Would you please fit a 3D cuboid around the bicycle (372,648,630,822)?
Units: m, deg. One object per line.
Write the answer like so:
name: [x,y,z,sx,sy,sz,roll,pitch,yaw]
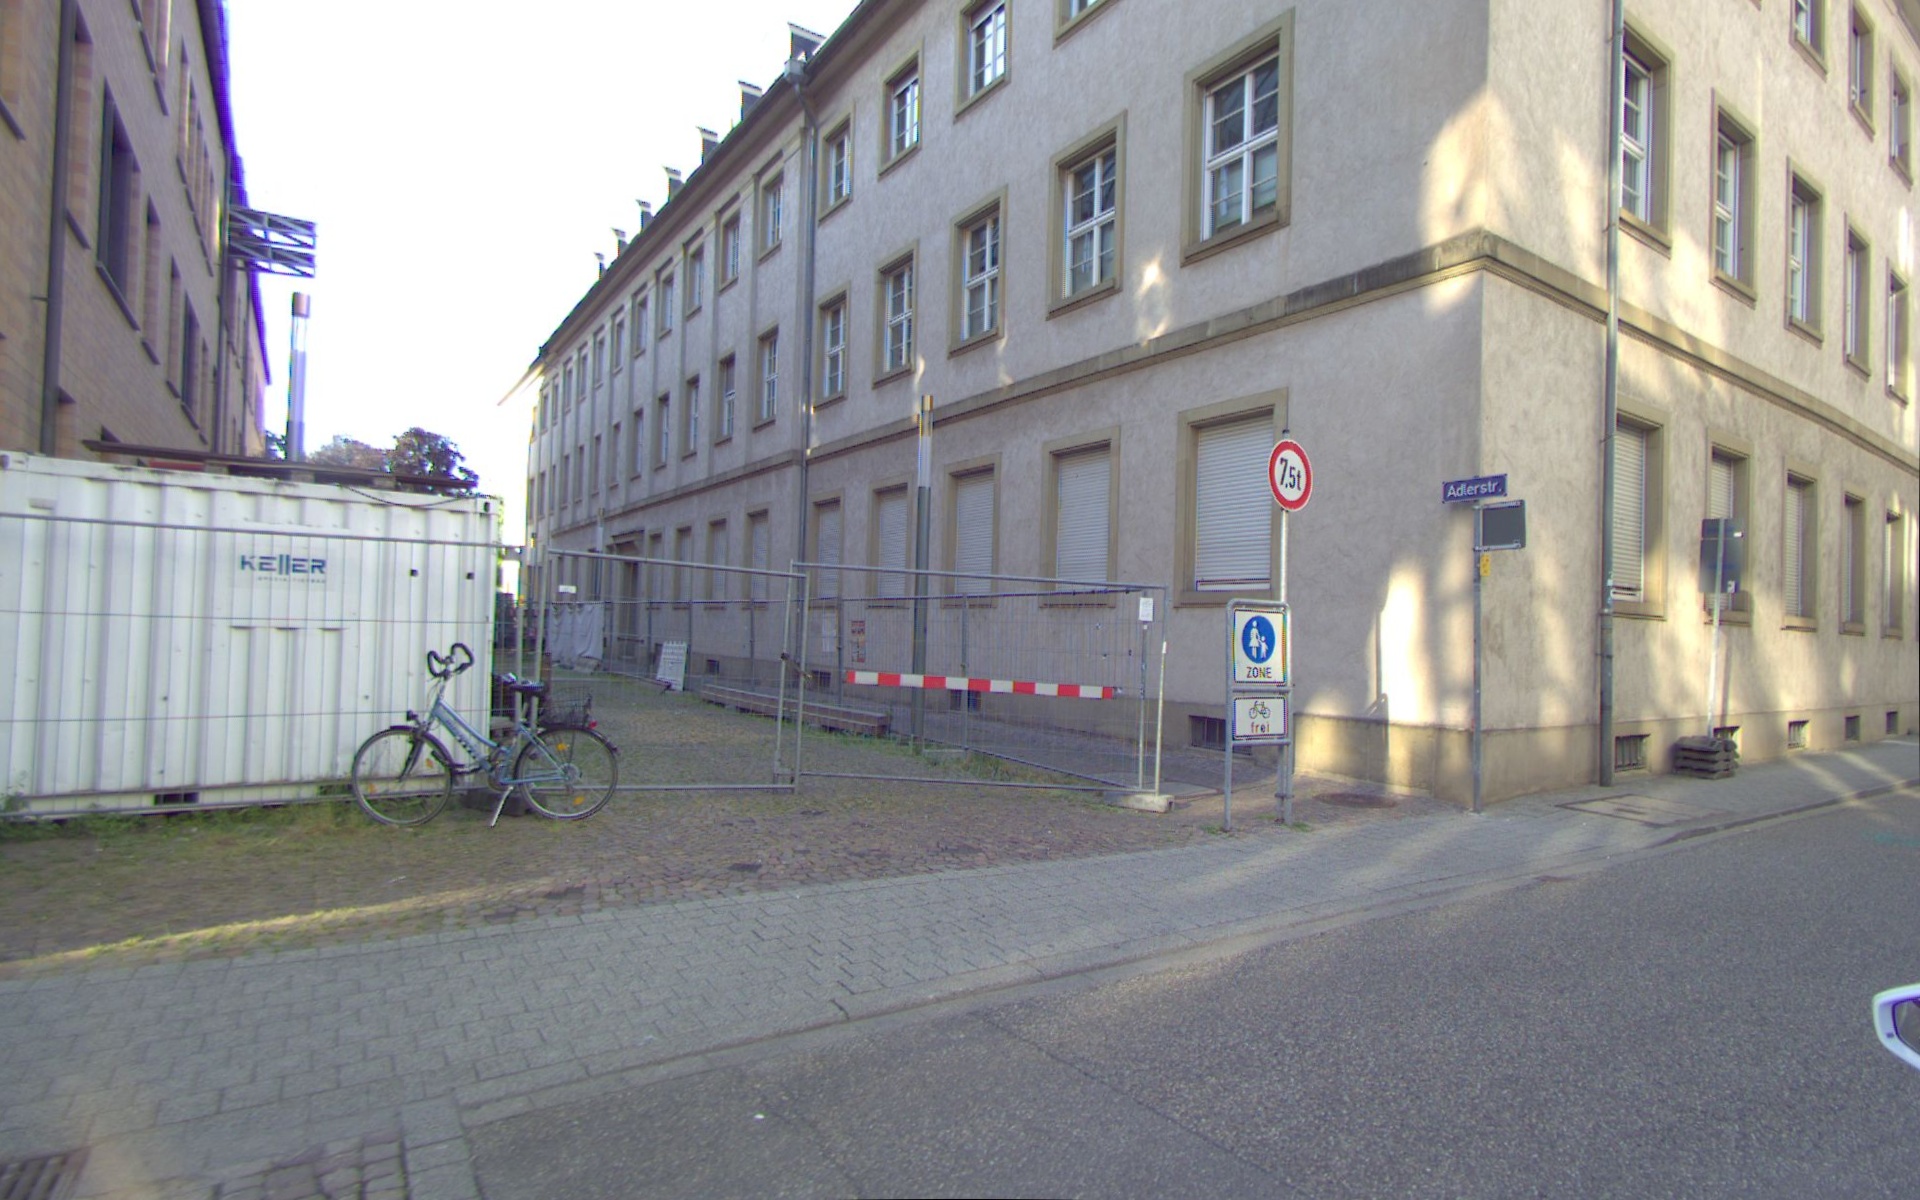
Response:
bicycle: [-3.218,0.952,7.159,1.564,1.159,0.431,3,-1,-13]
